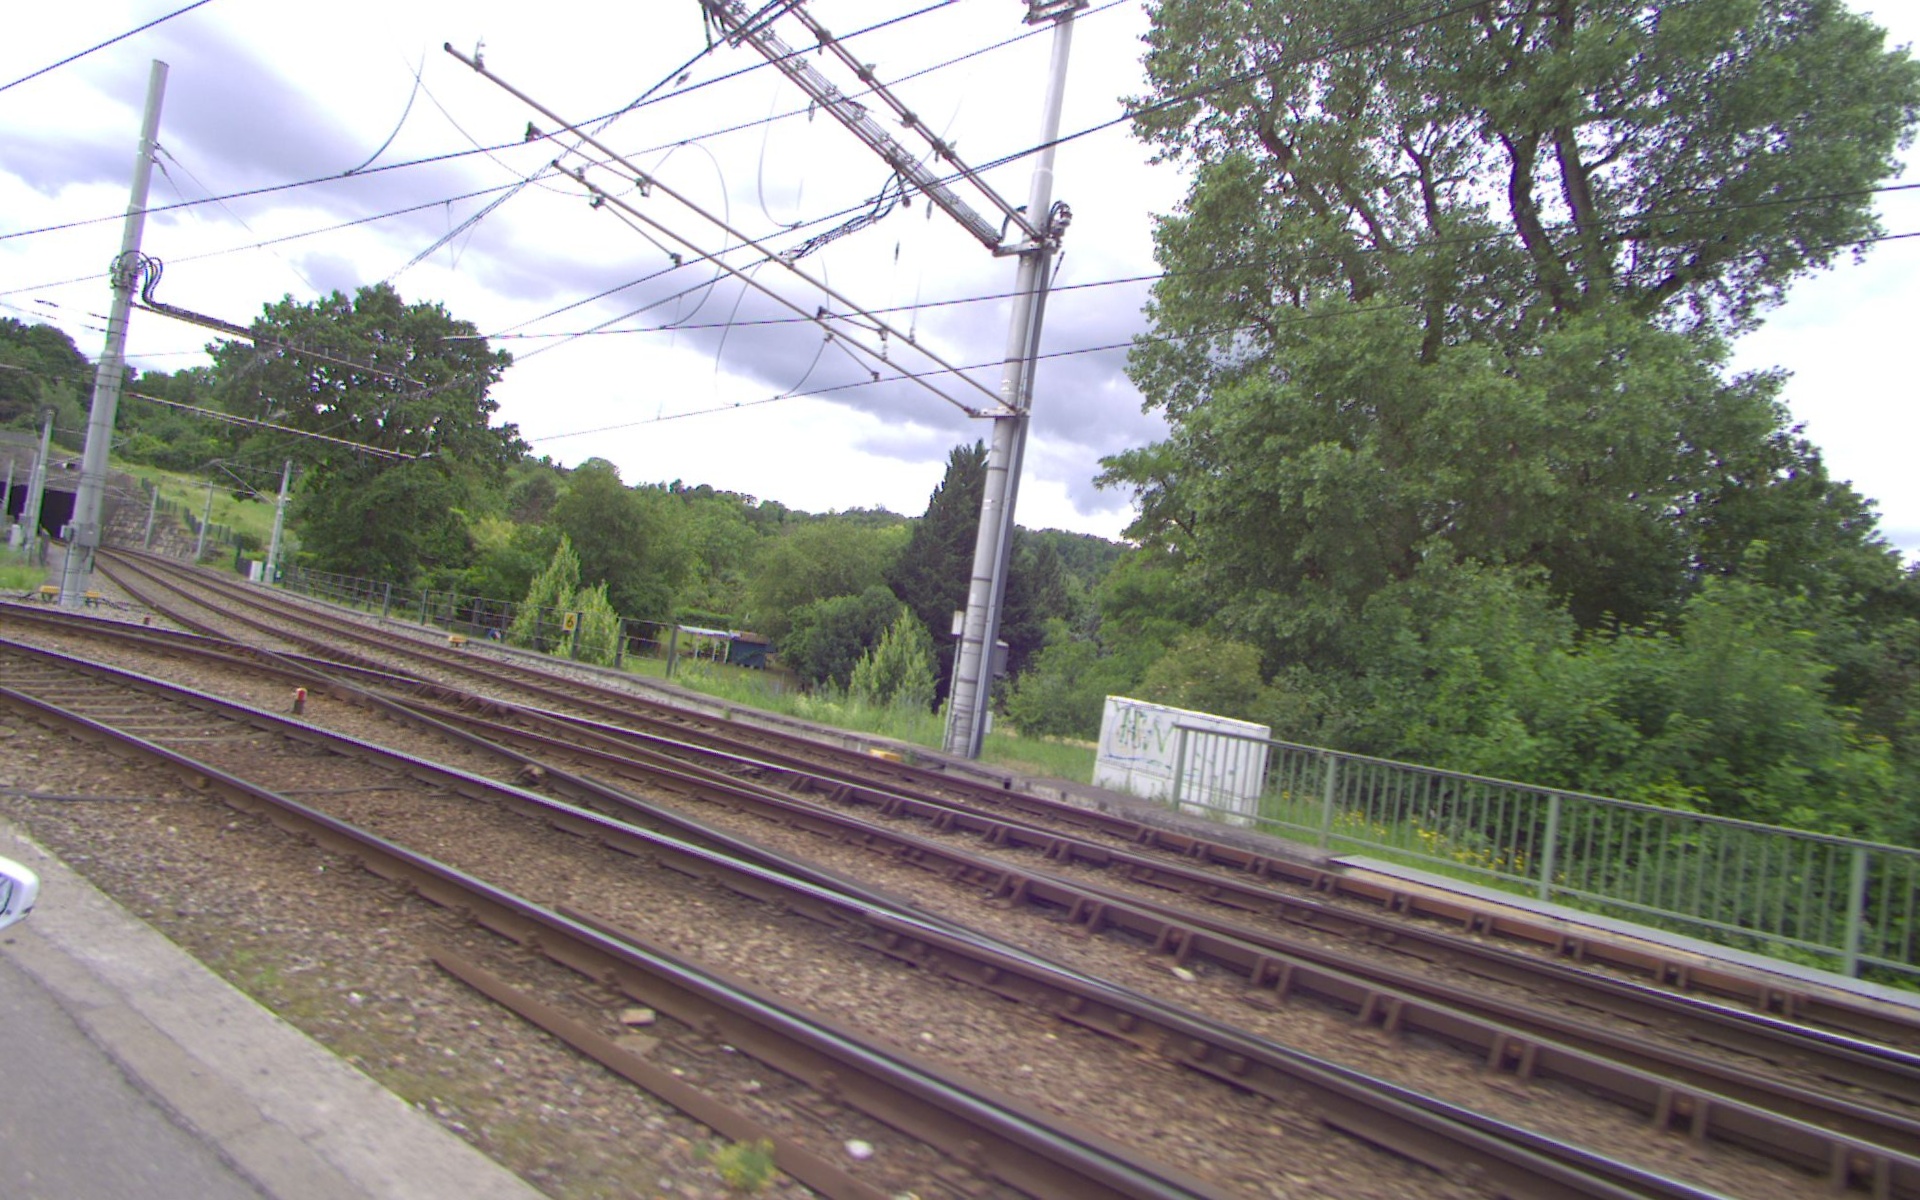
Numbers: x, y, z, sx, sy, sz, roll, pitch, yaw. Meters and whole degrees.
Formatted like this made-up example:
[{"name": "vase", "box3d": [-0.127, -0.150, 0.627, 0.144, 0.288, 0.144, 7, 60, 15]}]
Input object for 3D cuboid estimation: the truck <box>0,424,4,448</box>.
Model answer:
[{"name": "truck", "box3d": [-142.154, -24.050, 143.508, 3.071, 4.268, 9.774, 10, -1, -11]}]
